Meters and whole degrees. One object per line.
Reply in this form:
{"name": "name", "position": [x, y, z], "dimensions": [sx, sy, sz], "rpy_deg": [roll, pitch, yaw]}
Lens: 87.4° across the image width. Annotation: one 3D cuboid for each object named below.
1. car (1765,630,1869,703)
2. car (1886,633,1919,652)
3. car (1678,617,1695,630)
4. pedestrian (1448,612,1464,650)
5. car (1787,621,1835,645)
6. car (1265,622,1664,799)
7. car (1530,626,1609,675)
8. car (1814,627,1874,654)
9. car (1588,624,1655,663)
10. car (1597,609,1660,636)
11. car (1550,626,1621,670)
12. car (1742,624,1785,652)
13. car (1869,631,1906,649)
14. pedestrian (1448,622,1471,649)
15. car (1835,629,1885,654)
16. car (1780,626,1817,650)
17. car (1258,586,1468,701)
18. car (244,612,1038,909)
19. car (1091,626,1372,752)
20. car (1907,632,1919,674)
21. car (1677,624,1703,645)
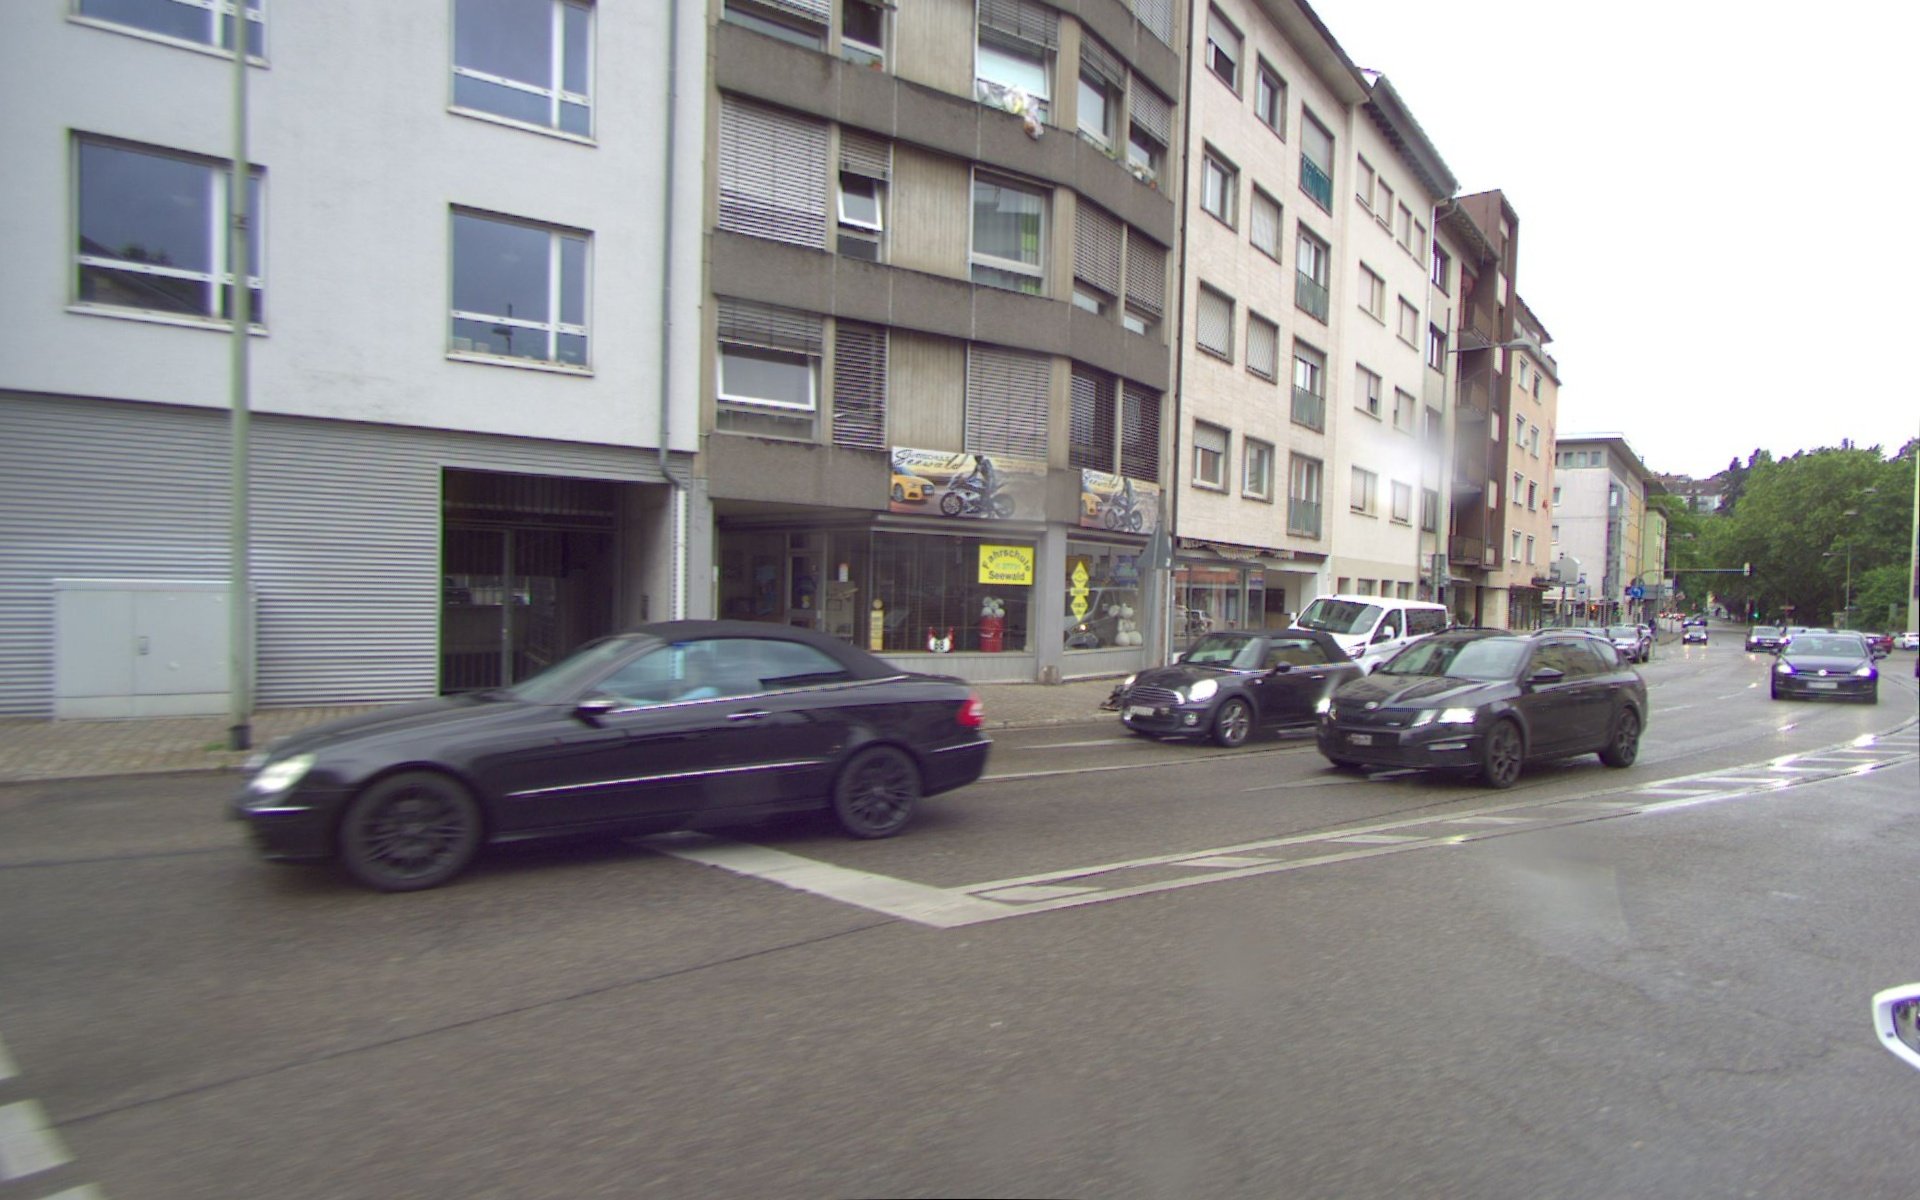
{"name": "car", "position": [19.379, 1.431, 22.660], "dimensions": [1.665, 1.492, 3.978], "rpy_deg": [-1, -2, 42]}
{"name": "car", "position": [79.698, 3.562, 84.380], "dimensions": [1.748, 1.420, 4.572], "rpy_deg": [1, 0, 29]}
{"name": "car", "position": [111.953, 3.619, 154.694], "dimensions": [1.968, 1.885, 3.985], "rpy_deg": [5, 3, 37]}
{"name": "pedestrian", "position": [21.454, 1.344, 43.411], "dimensions": [0.534, 1.604, 0.669], "rpy_deg": [3, 1, 26]}
{"name": "car", "position": [60.449, 2.347, 71.408], "dimensions": [1.906, 1.547, 4.125], "rpy_deg": [2, 0, 32]}
{"name": "car", "position": [5.445, 1.010, 10.638], "dimensions": [4.442, 1.478, 1.970], "rpy_deg": [2, -1, -36]}
{"name": "car", "position": [20.645, 1.655, 33.928], "dimensions": [1.858, 1.496, 4.961], "rpy_deg": [1, -1, 36]}
{"name": "car", "position": [58.213, 2.636, 66.218], "dimensions": [1.827, 1.574, 4.222], "rpy_deg": [2, 0, 26]}
{"name": "car", "position": [29.095, 1.883, 44.099], "dimensions": [1.886, 1.575, 4.608], "rpy_deg": [1, -1, 41]}
{"name": "car", "position": [48.401, 1.622, 72.751], "dimensions": [3.939, 1.729, 1.679], "rpy_deg": [3, 2, -20]}
{"name": "car", "position": [23.867, 1.773, 38.260], "dimensions": [1.968, 1.497, 4.502], "rpy_deg": [2, 0, 36]}
{"name": "car", "position": [52.478, 2.465, 65.659], "dimensions": [1.837, 1.669, 4.240], "rpy_deg": [1, -1, 35]}
{"name": "car", "position": [83.023, 3.567, 89.946], "dimensions": [1.690, 1.461, 4.071], "rpy_deg": [0, 0, 32]}
{"name": "pedestrian", "position": [22.439, 1.592, 45.131], "dimensions": [0.586, 1.163, 0.671], "rpy_deg": [2, 1, -23]}
{"name": "car", "position": [66.352, 3.020, 74.142], "dimensions": [1.965, 1.550, 3.990], "rpy_deg": [5, 2, 32]}
{"name": "car", "position": [63.733, 2.884, 76.399], "dimensions": [1.797, 1.630, 4.415], "rpy_deg": [2, 0, 36]}
{"name": "car", "position": [8.705, 0.921, 21.433], "dimensions": [5.094, 2.041, 2.098], "rpy_deg": [3, 2, -44]}
{"name": "car", "position": [-1.866, 0.841, 6.704], "dimensions": [4.551, 1.384, 1.815], "rpy_deg": [2, -1, -31]}
{"name": "car", "position": [3.620, 1.073, 13.204], "dimensions": [3.559, 1.418, 1.710], "rpy_deg": [2, -1, -36]}
{"name": "car", "position": [34.842, 1.952, 35.100], "dimensions": [1.968, 1.406, 4.482], "rpy_deg": [5, 3, 37]}
{"name": "car", "position": [60.283, 2.828, 82.986], "dimensions": [1.670, 1.648, 3.986], "rpy_deg": [1, -1, 36]}
